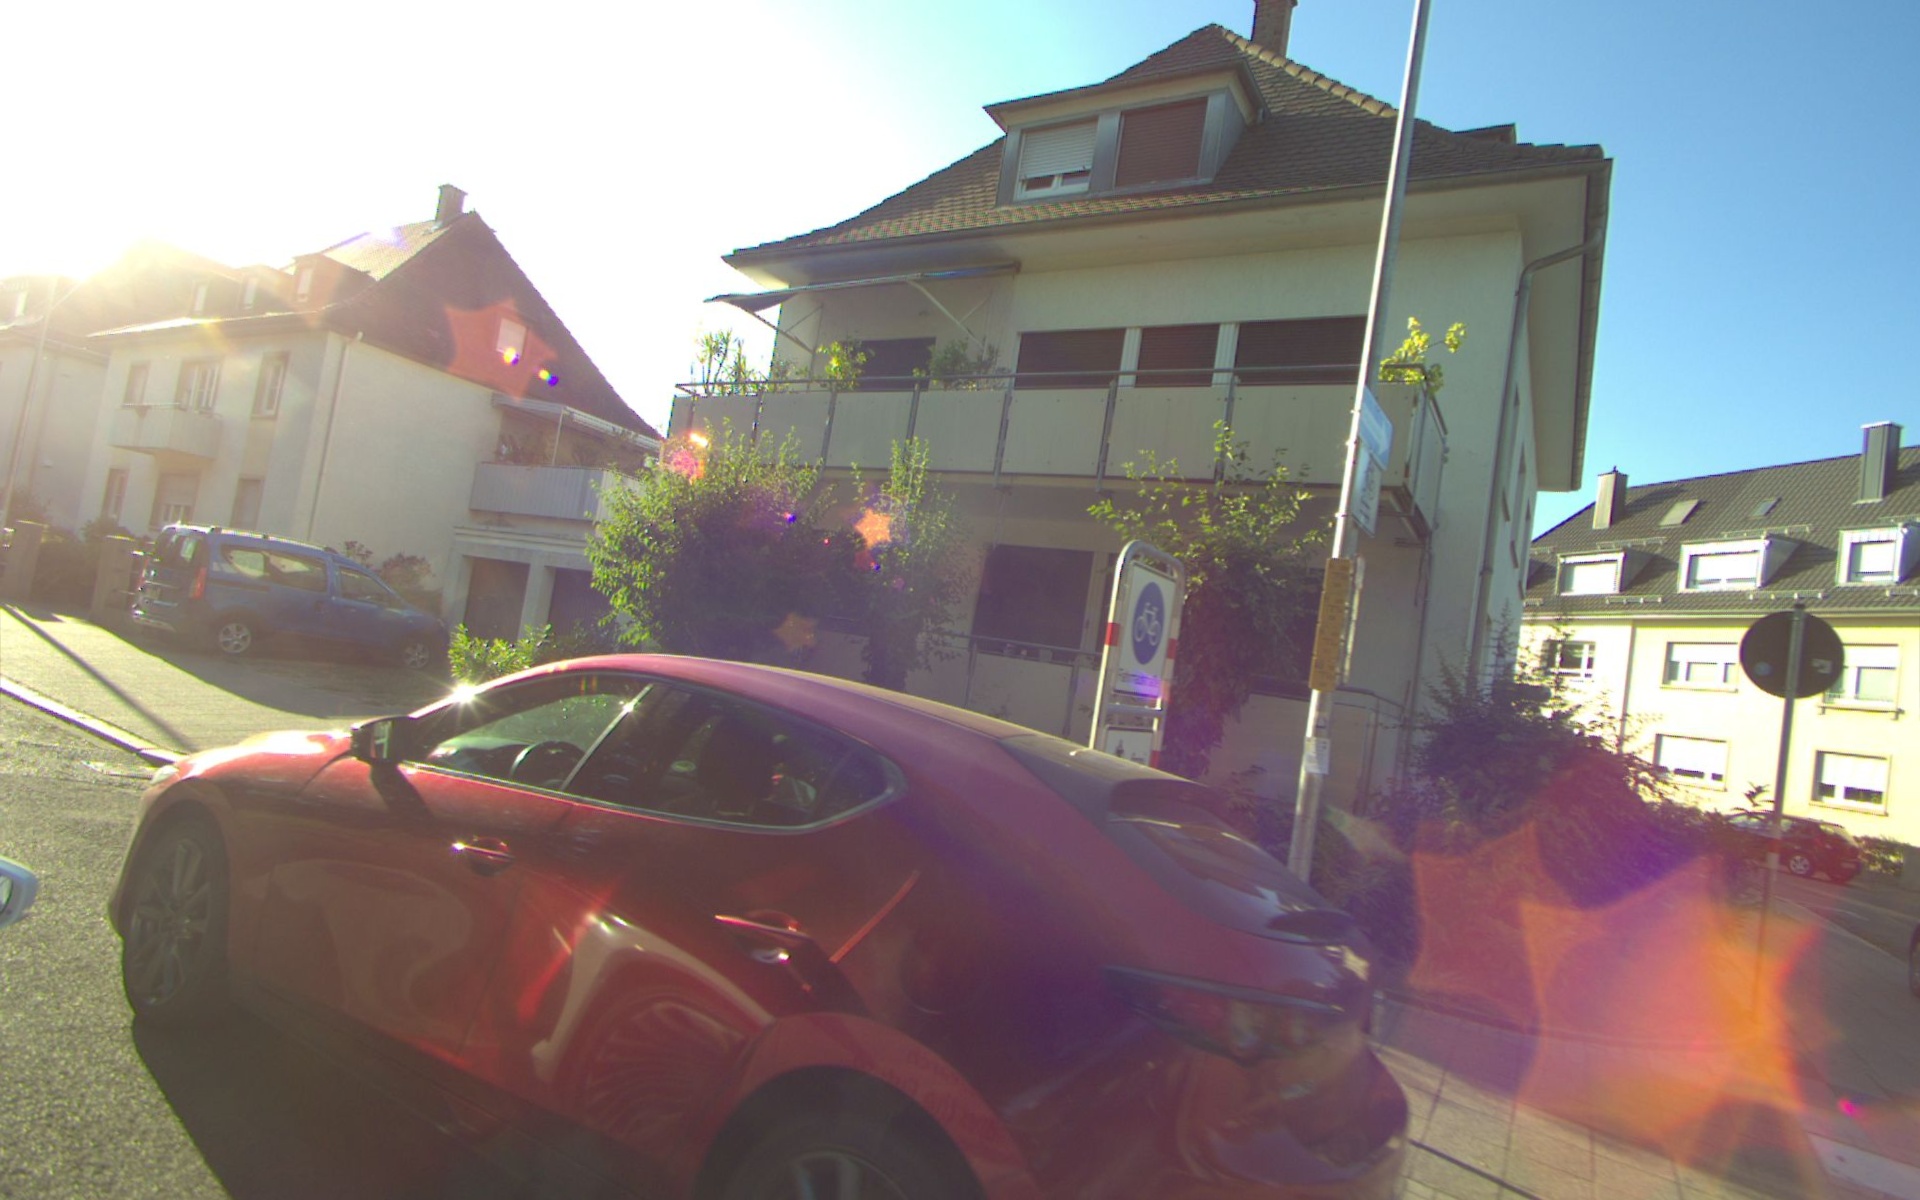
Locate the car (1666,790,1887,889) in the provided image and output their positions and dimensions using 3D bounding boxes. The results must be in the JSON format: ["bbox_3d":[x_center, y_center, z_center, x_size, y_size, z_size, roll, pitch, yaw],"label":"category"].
[{"bbox_3d":[21.266,6.208,26.408,1.972,1.568,3.989,10,-4,-17],"label":"car"}]

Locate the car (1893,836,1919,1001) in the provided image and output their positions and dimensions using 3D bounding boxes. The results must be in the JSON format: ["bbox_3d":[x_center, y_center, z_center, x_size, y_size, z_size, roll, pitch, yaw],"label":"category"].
[{"bbox_3d":[9.004,2.829,7.801,1.688,1.461,4.001,6,-6,31],"label":"car"}]

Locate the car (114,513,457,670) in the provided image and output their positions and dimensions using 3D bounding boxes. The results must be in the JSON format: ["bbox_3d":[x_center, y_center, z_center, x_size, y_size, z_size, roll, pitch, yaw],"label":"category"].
[{"bbox_3d":[-10.350,-0.004,15.804,1.730,1.839,4.003,1,-7,27],"label":"car"}]

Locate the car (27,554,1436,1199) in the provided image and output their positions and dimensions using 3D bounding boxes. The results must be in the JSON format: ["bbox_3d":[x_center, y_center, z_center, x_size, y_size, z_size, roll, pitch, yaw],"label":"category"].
[{"bbox_3d":[-0.934,0.837,3.150,4.134,1.372,1.717,5,-7,32],"label":"car"}]
